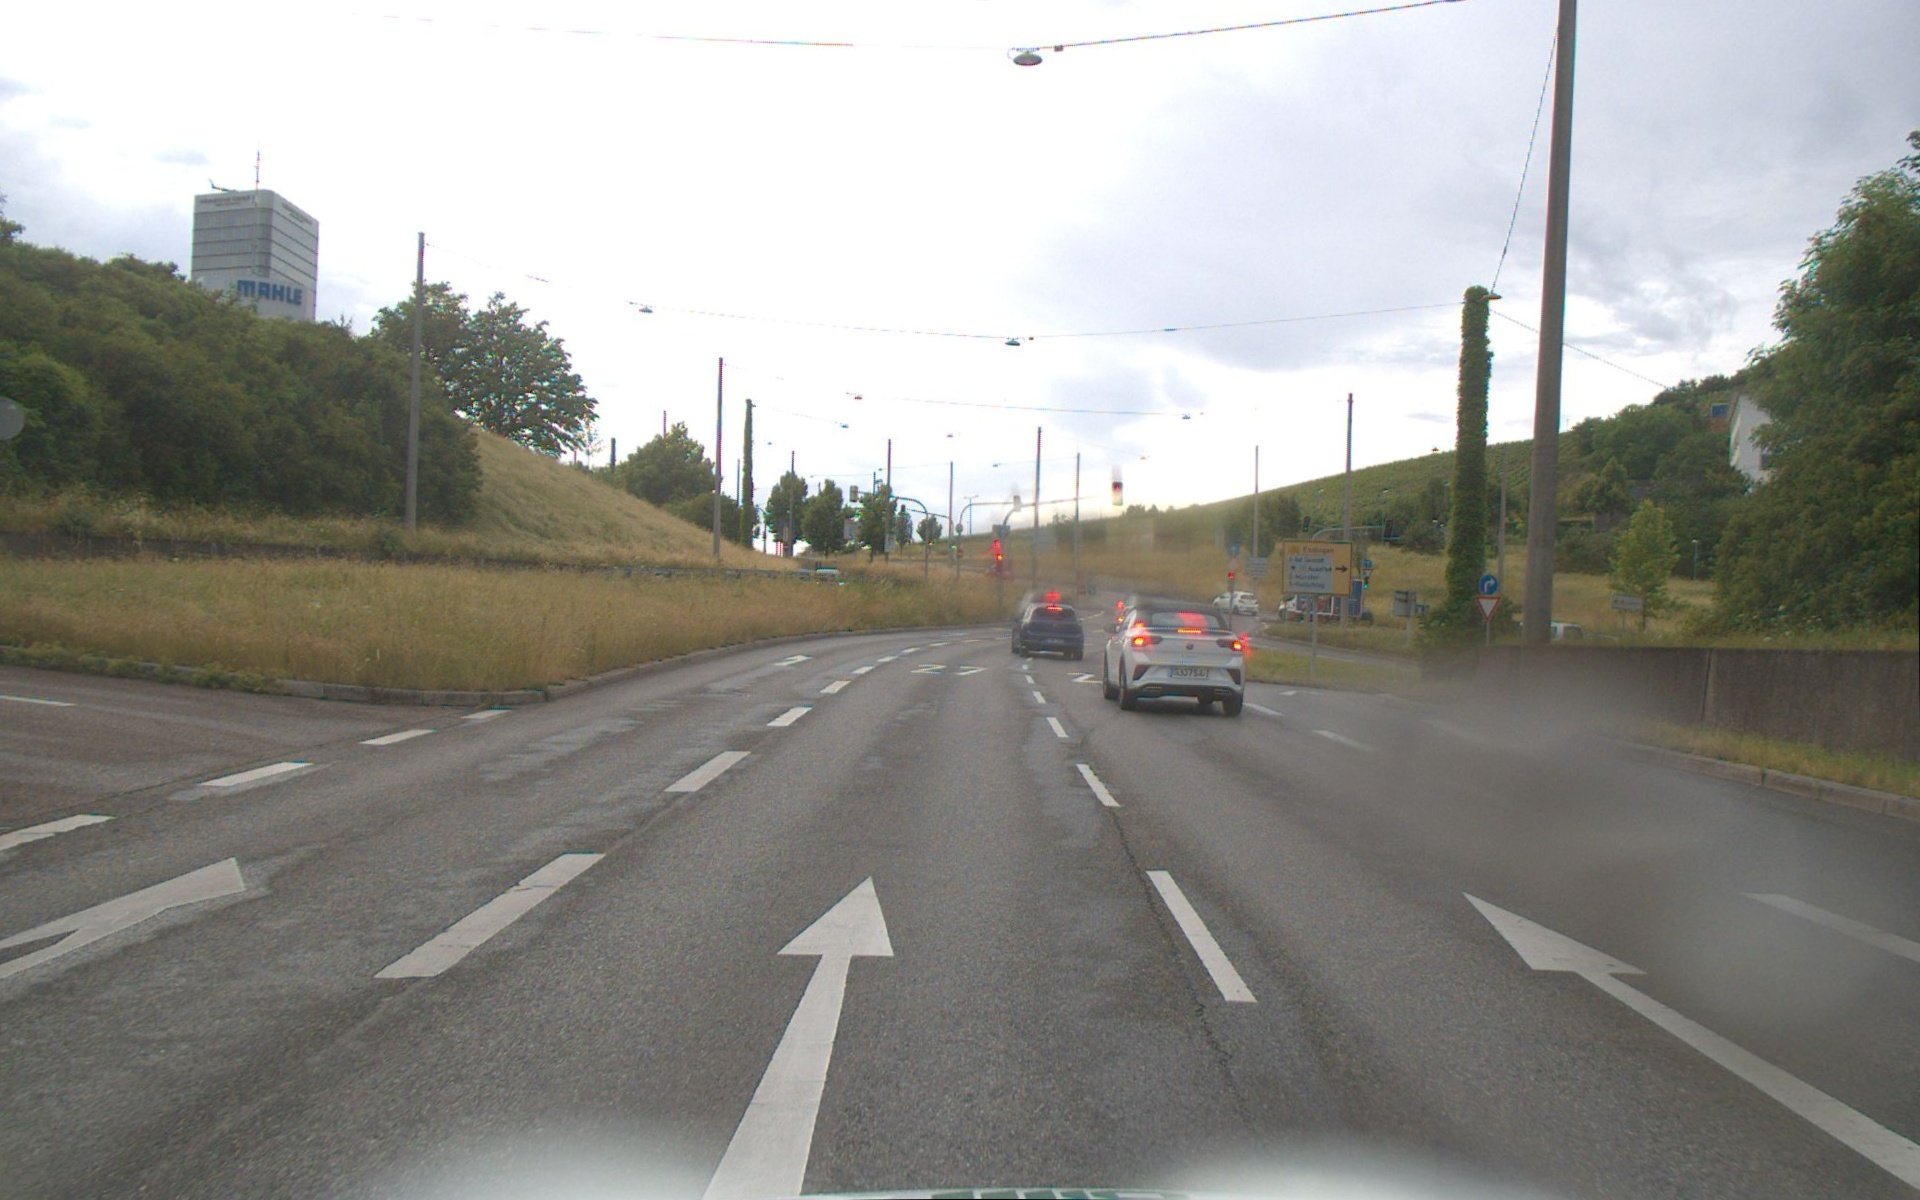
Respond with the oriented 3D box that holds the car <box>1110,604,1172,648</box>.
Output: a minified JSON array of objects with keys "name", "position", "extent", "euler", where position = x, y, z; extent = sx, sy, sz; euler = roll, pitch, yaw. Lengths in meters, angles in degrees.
[{"name":"car","position":[7.079,0.997,64.393],"extent":[1.737,1.545,3.727],"euler":[4,0,16]}]

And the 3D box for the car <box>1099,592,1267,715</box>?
[{"name":"car","position":[3.259,0.754,24.973],"extent":[1.955,1.606,4.125],"euler":[3,0,1]}]

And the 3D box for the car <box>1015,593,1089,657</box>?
[{"name":"car","position":[2.610,0.697,46.056],"extent":[1.886,1.627,4.063],"euler":[3,-1,5]}]

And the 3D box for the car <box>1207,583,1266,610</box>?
[{"name":"car","position":[18.782,-0.239,112.647],"extent":[1.964,1.526,4.538],"euler":[1,3,-20]}]

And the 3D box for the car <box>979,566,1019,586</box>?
[{"name":"car","position":[3.554,-2.164,150.512],"extent":[1.967,1.741,4.531],"euler":[1,1,-23]}]

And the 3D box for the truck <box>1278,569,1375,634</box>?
[{"name":"truck","position":[22.608,0.029,102.310],"extent":[2.808,3.587,6.196],"euler":[1,3,-22]}]
